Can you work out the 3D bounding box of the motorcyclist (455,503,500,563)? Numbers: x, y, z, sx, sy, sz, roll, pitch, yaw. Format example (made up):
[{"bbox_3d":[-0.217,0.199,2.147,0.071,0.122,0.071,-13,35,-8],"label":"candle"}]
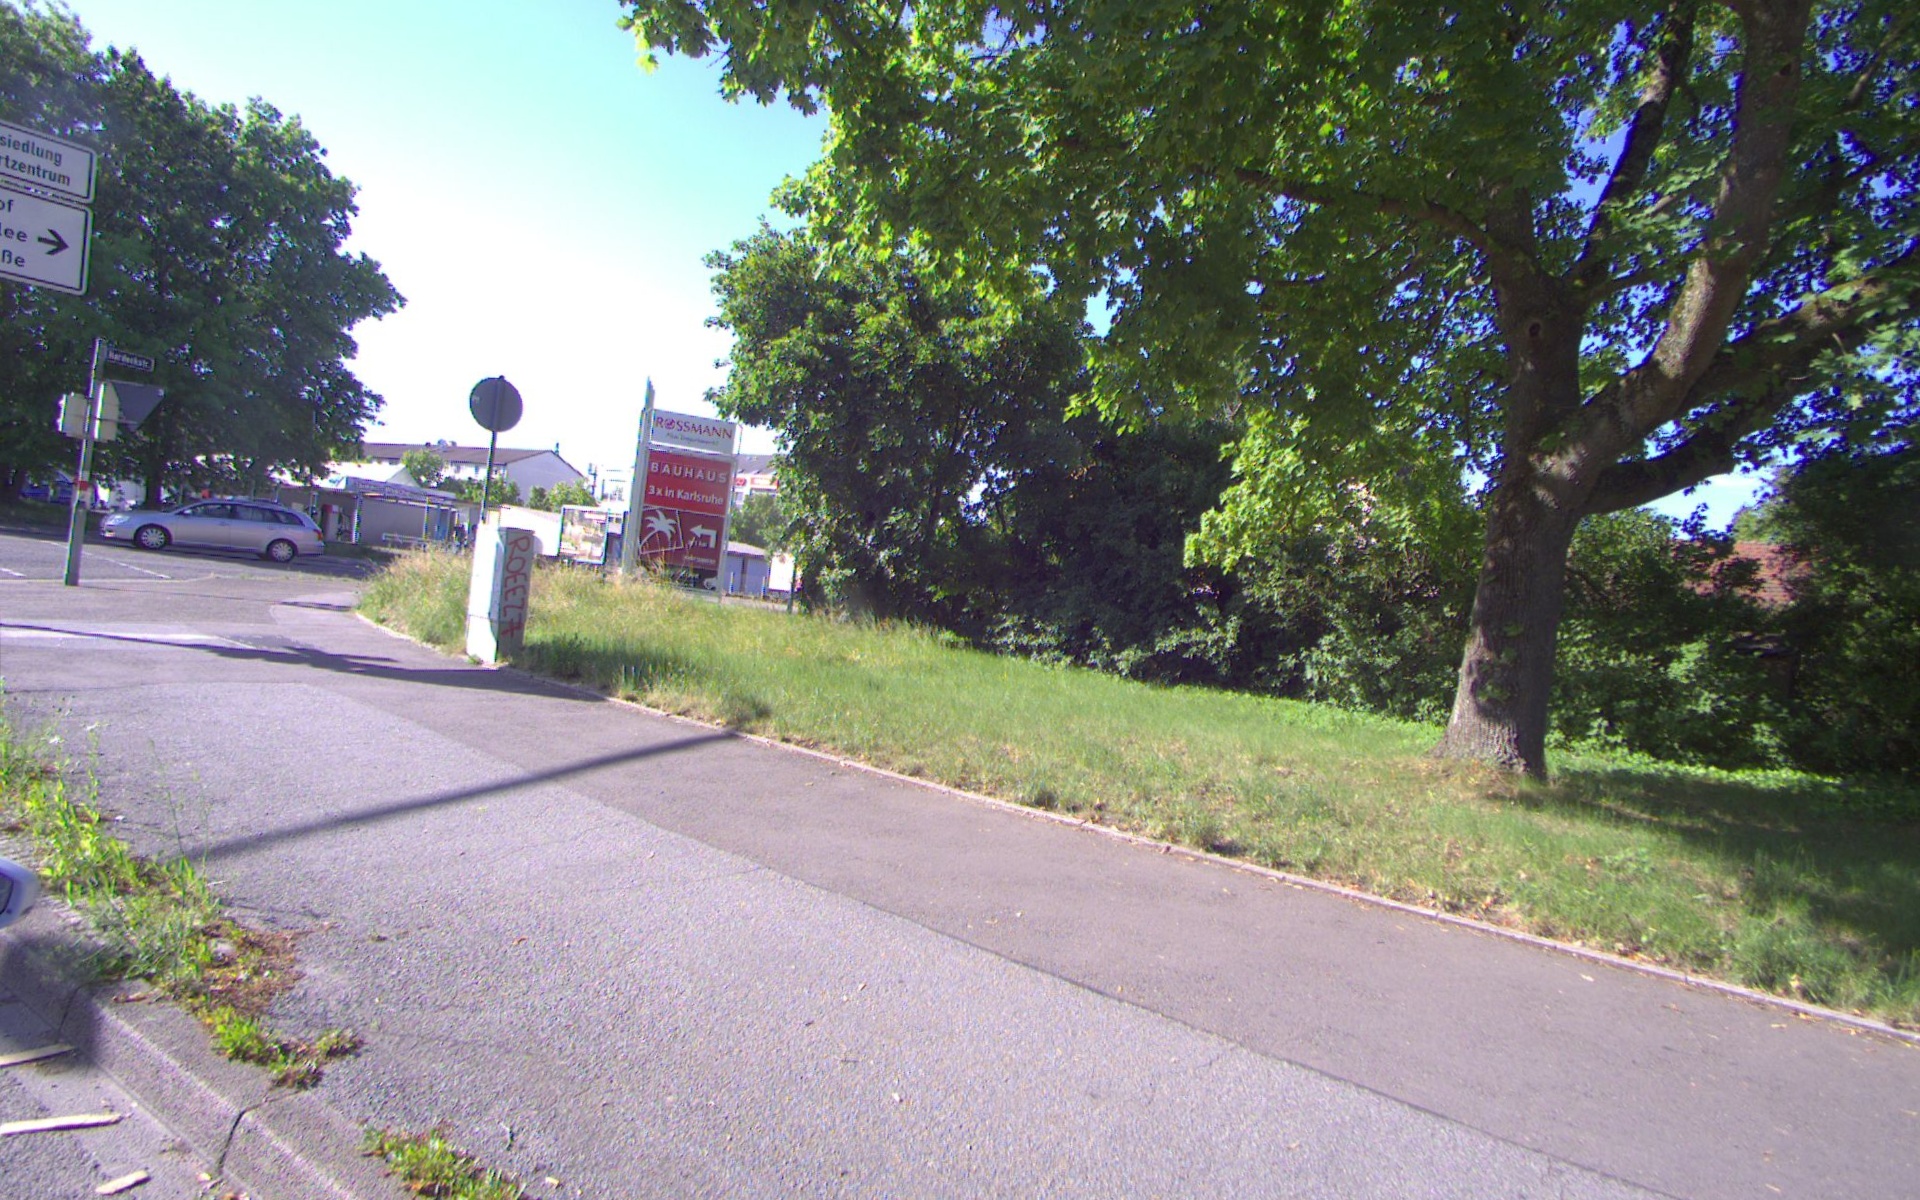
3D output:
[{"bbox_3d":[-14.823,-2.053,30.909,0.858,1.699,0.824,9,-2,-42],"label":"motorcyclist"}]

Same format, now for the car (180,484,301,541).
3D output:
[{"bbox_3d":[-30.477,-3.670,42.766,1.771,1.630,3.854,7,-2,12],"label":"car"}]

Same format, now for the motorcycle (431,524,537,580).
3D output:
[{"bbox_3d":[-14.688,-1.468,31.092,2.718,1.285,0.824,10,-3,-43],"label":"motorcycle"}]

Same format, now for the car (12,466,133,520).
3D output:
[{"bbox_3d":[-39.318,-4.693,44.698,1.772,1.581,3.851,8,-2,0],"label":"car"}]

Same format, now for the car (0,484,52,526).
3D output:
[{"bbox_3d":[-46.561,-4.745,48.437,1.675,1.704,3.722,7,-3,29],"label":"car"}]

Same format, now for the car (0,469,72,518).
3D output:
[{"bbox_3d":[-42.025,-4.818,44.577,1.672,1.704,3.729,7,-2,6],"label":"car"}]

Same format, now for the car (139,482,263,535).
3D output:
[{"bbox_3d":[-32.347,-3.878,43.006,1.771,1.499,3.854,7,-2,12],"label":"car"}]

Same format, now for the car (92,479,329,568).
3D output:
[{"bbox_3d":[-19.385,-1.931,26.176,1.973,1.593,4.609,6,-1,43],"label":"car"}]
